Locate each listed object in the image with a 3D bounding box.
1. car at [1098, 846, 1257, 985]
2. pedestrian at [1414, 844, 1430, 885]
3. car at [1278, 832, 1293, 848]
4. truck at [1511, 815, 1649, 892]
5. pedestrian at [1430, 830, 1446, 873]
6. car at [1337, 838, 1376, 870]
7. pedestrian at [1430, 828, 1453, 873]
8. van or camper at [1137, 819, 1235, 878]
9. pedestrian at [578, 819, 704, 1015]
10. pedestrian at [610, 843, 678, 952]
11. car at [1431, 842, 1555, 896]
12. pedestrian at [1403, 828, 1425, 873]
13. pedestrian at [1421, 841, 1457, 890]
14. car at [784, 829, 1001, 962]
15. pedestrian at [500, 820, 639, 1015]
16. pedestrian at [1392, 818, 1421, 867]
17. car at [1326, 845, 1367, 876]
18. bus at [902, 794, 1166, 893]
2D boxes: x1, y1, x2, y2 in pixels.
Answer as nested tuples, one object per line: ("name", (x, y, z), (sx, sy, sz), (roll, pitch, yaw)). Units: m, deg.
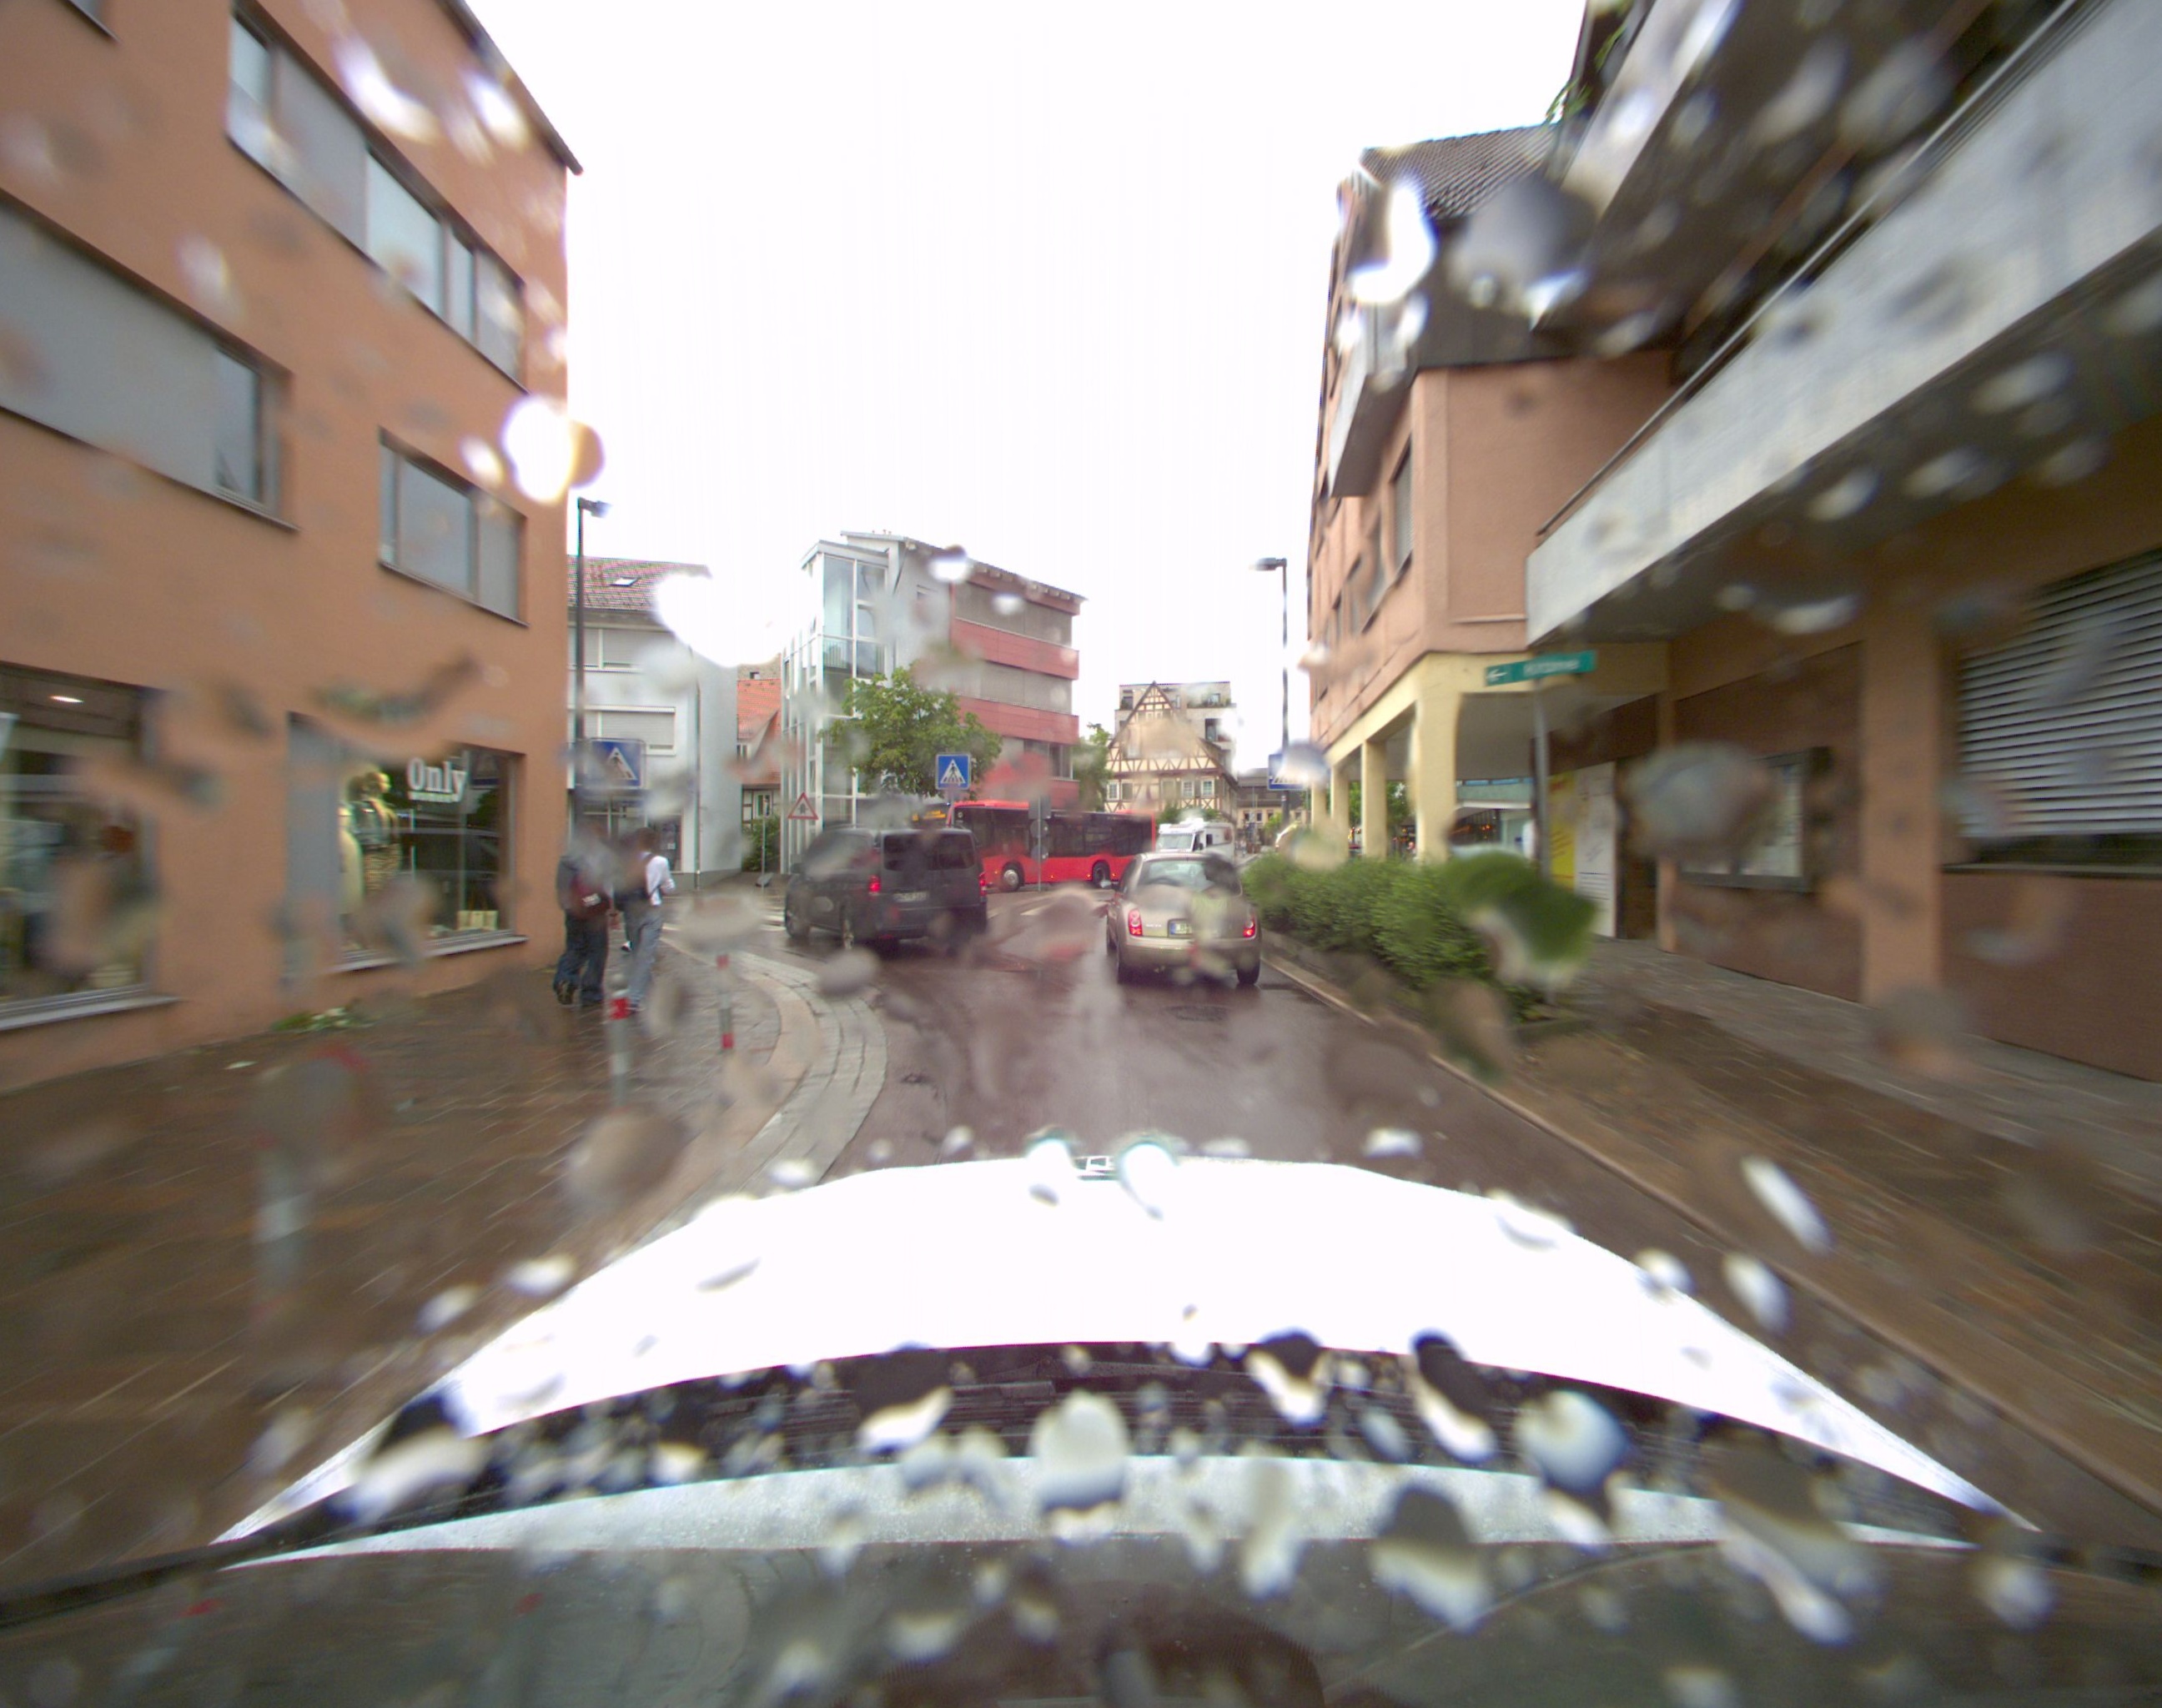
("car", (1.086, 0.648, 10.524), (1.518, 1.470, 3.338), (-1, 1, -3))
("pedestrian", (12.506, 0.391, 29.903), (0.492, 1.509, 0.493), (-1, 0, 18))
("car", (23.081, -1.563, 91.801), (1.574, 1.712, 3.335), (0, 1, 16))
("truck", (12.915, -0.008, 21.371), (1.751, 1.808, 4.012), (-1, 0, 10))
("pedestrian", (14.162, -0.102, 32.280), (0.536, 1.663, 0.523), (-1, 0, 20))
("car", (14.078, -0.029, 41.829), (1.612, 1.500, 4.017), (-3, 0, 15))
("pedestrian", (13.730, -0.116, 31.021), (0.629, 1.689, 0.745), (-1, 0, 12))
("van or camper", (5.206, -0.277, 39.266), (2.415, 2.585, 6.792), (0, 0, 28))
("pedestrian", (-4.328, 0.580, 8.086), (0.661, 1.806, 1.061), (-1, 0, -1))
("pedestrian", (-6.578, 0.635, 12.296), (0.658, 1.610, 0.683), (0, 0, -2))
("car", (10.604, 0.318, 21.315), (1.751, 1.276, 4.485), (0, 1, 11))
("pedestrian", (13.422, -0.137, 32.843), (0.727, 1.748, 0.897), (-1, 0, 18))
("pedestrian", (12.218, 0.390, 27.813), (0.955, 1.639, 0.739), (0, 0, 41))
("car", (-3.280, 0.505, 13.375), (1.960, 1.780, 4.678), (0, 1, -34))
("pedestrian", (-5.012, 0.585, 8.055), (0.690, 1.800, 1.058), (-1, 0, 0))
("pedestrian", (11.328, -0.401, 28.313), (0.689, 1.661, 0.826), (-1, 0, 40))
("car", (12.156, 0.259, 37.159), (1.523, 1.362, 3.392), (0, 1, 23))
("bus", (-1.268, -0.377, 30.096), (2.786, 3.088, 10.671), (-1, 0, 43))
